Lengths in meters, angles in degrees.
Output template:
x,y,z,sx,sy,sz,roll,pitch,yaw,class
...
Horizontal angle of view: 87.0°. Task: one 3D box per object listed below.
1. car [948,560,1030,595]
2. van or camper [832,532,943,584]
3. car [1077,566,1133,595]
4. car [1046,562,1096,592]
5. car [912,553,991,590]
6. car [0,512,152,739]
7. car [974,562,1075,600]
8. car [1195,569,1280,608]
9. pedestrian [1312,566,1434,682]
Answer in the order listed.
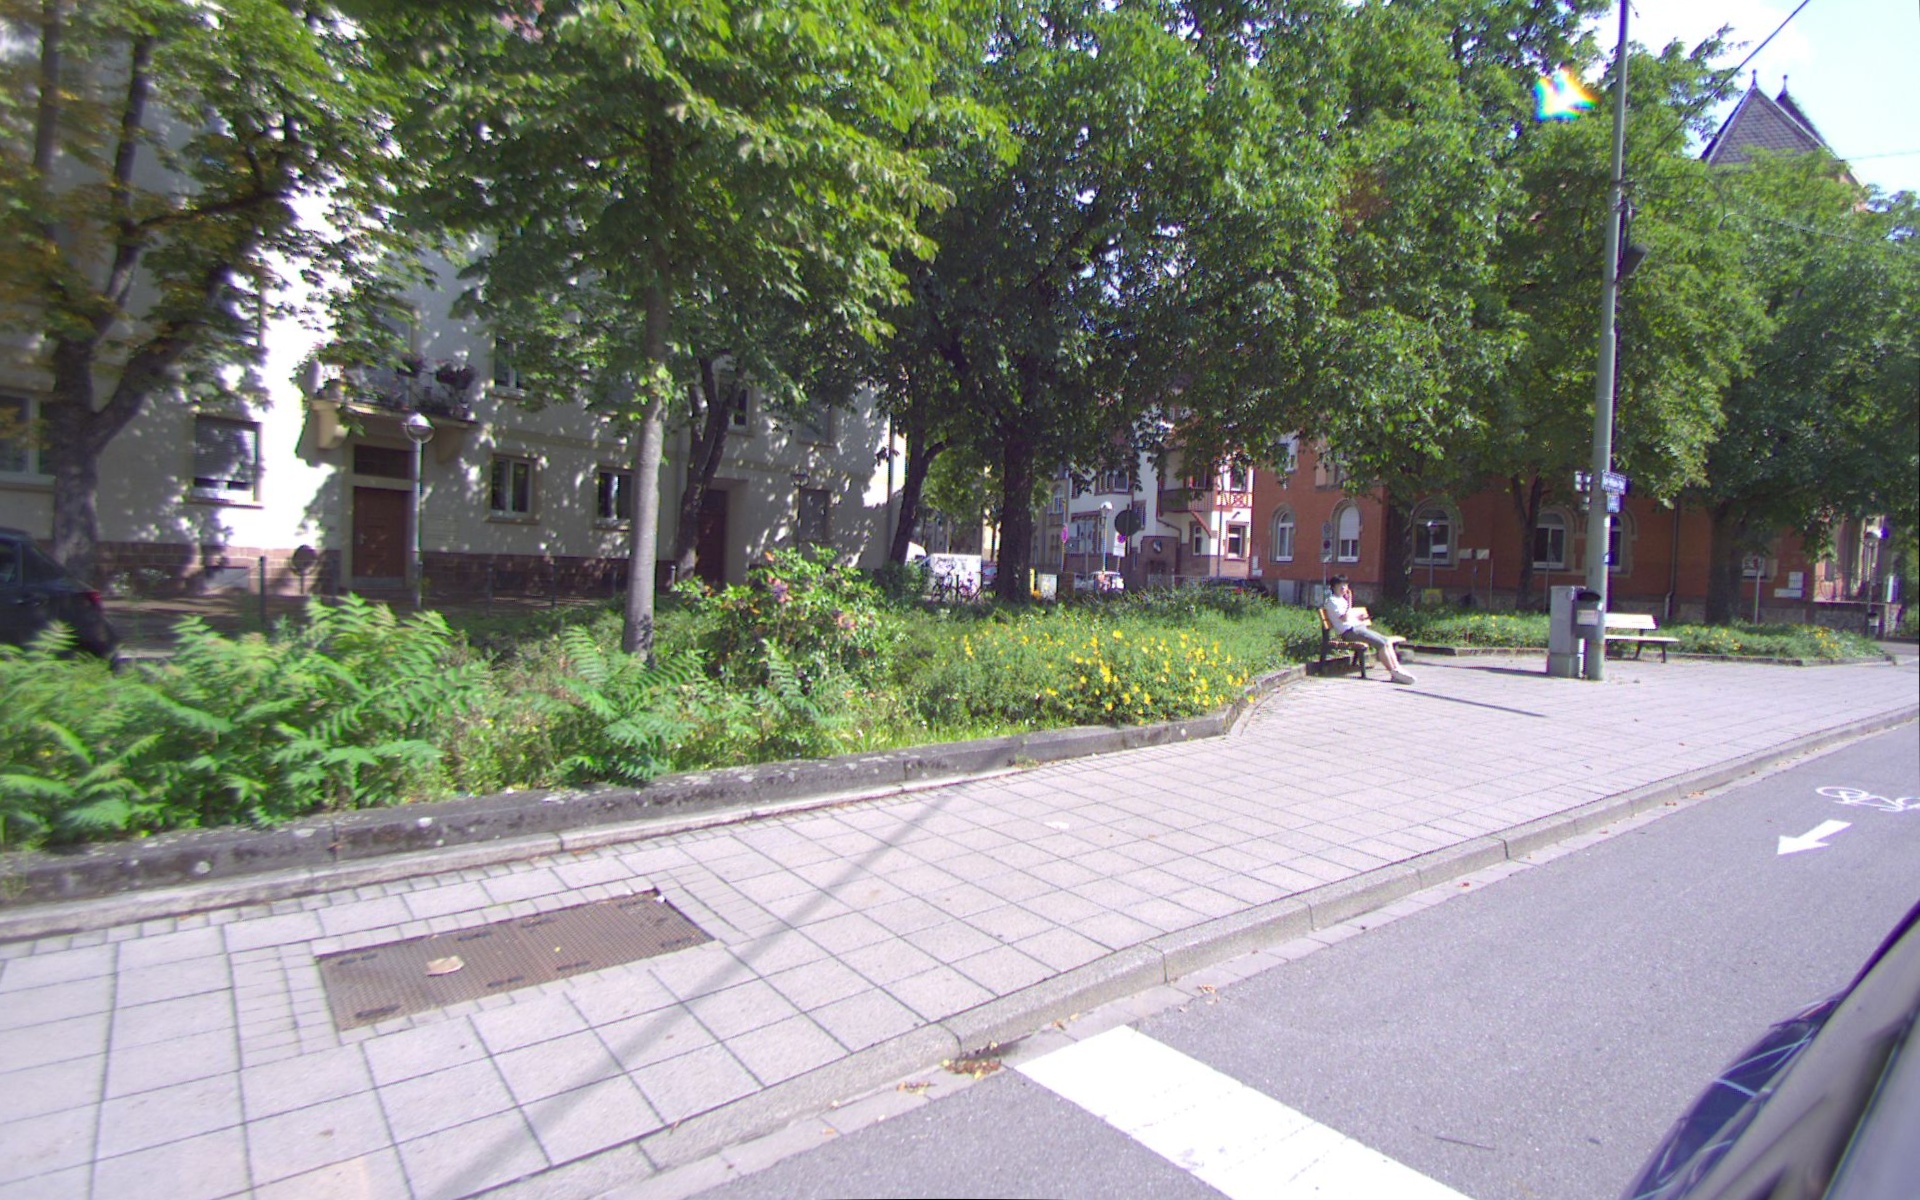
x,y,z,sx,sy,sz,roll,pitch,yaw,class
1.308,-1.012,45.771,3.342,1.439,1.566,2,2,-20,car
-4.673,-2.686,65.312,6.690,3.075,2.127,2,2,-18,van or camper
8.314,-1.140,58.222,1.831,1.504,4.009,2,2,-13,car
6.846,-1.475,62.904,1.689,1.727,4.010,2,2,-15,car
-0.500,-1.592,55.812,3.915,1.882,1.852,2,2,-18,car
-7.428,0.151,5.956,1.818,1.528,4.169,4,2,4,car
2.788,-0.838,43.769,3.915,1.460,1.807,2,2,-19,car
12.261,-0.545,44.960,1.896,1.504,4.009,2,2,-13,car
5.110,0.272,12.557,0.548,1.284,1.194,1,4,-42,pedestrian
